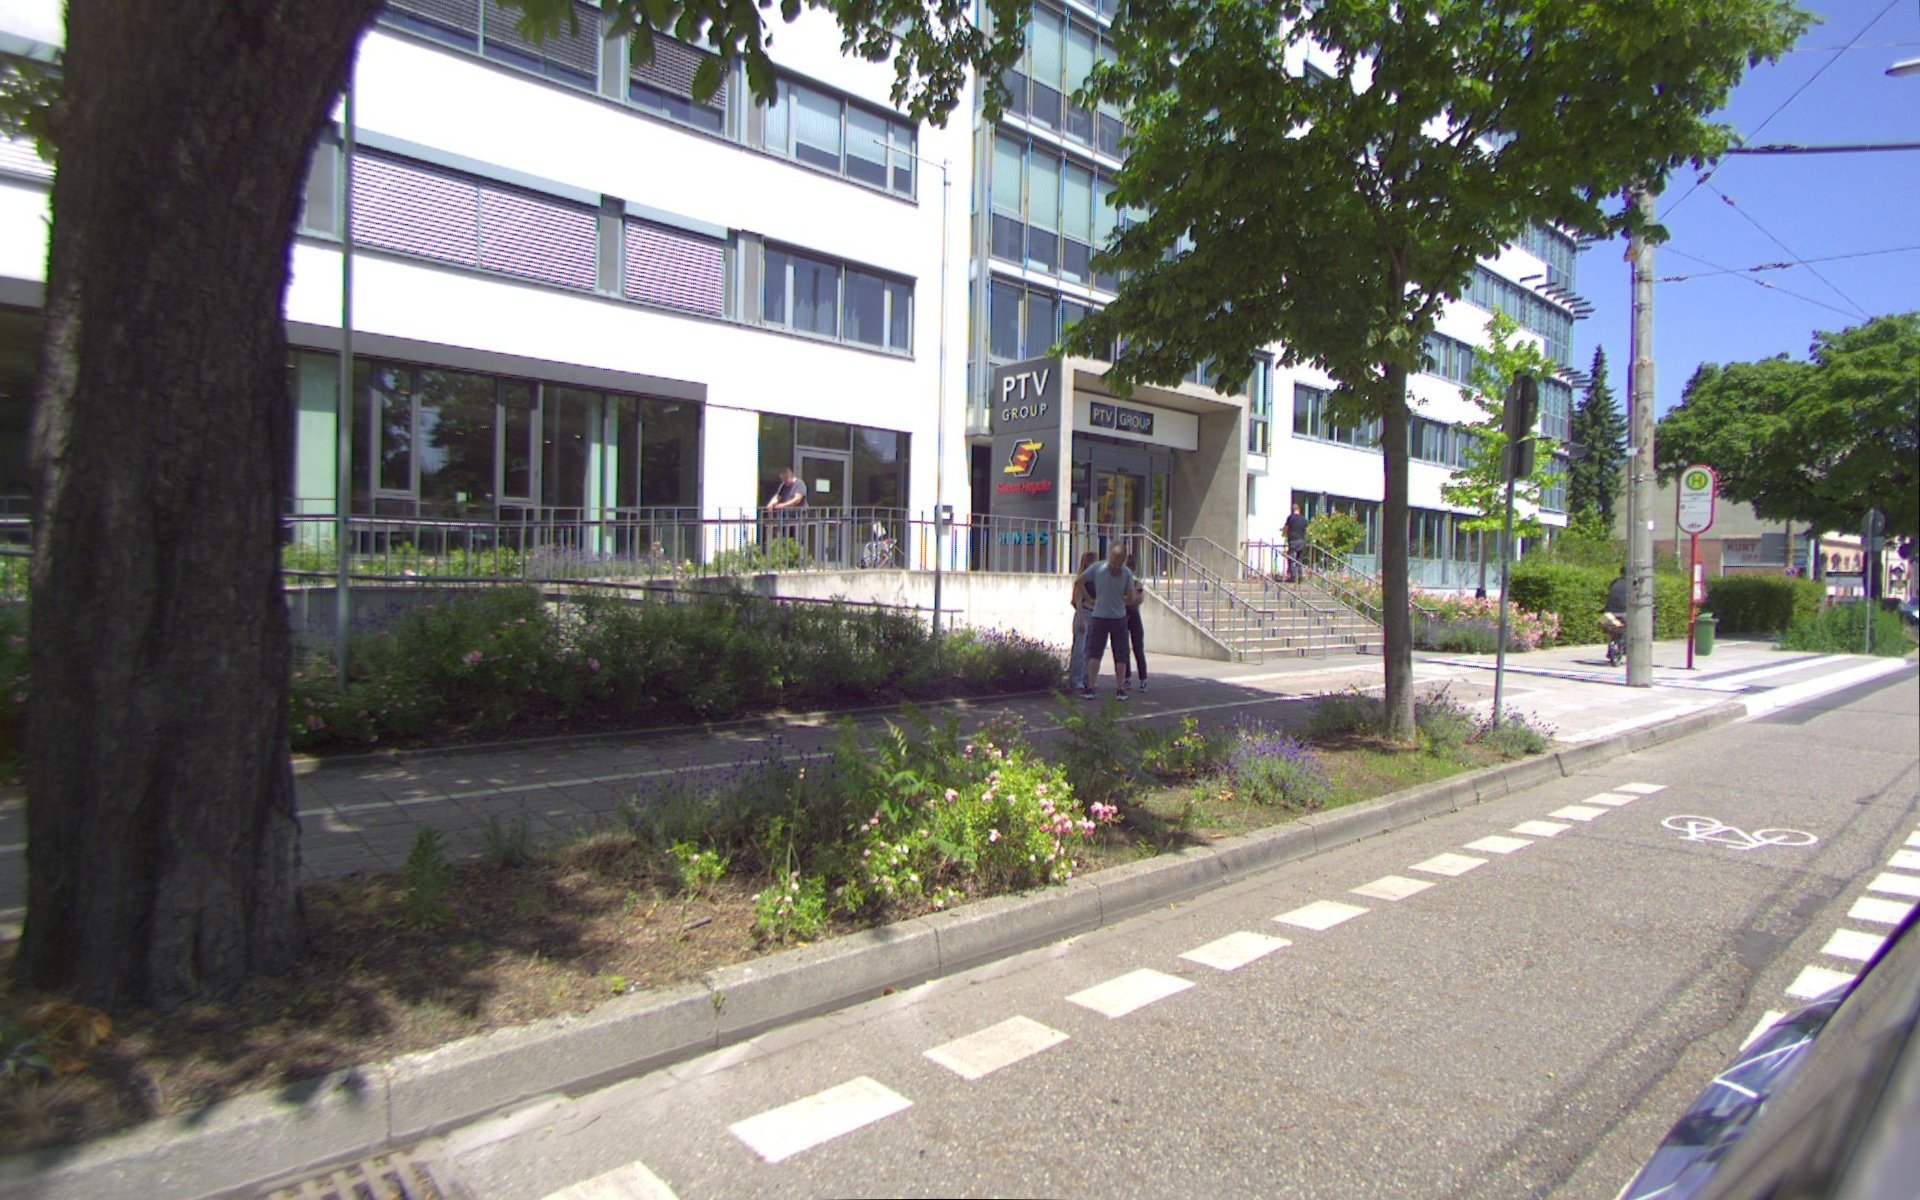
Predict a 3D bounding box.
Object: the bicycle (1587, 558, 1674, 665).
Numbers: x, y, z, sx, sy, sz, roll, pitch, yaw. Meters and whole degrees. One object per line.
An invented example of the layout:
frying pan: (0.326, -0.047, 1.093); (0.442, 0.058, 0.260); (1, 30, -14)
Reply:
bicycle: (12.026, 0.177, 18.146); (1.777, 1.807, 0.692); (-1, 3, -38)

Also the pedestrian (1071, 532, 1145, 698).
pedestrian: (1.713, 0.151, 11.672); (0.671, 1.818, 0.671); (3, 2, 18)

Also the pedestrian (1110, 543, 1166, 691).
pedestrian: (2.173, 0.186, 12.327); (0.532, 1.735, 0.562); (3, 3, 20)

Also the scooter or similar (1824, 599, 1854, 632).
scooter or similar: (32.882, 0.570, 37.849); (1.127, 1.238, 0.327); (0, 0, -19)

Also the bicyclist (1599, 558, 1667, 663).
bicyclist: (12.083, 0.168, 18.178); (0.871, 1.821, 0.699); (0, 3, -37)

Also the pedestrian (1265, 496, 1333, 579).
pedestrian: (7.354, -1.354, 21.976); (1.068, 1.735, 0.878); (1, 2, -5)

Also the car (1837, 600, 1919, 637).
car: (40.210, 0.784, 43.168); (1.667, 1.388, 3.936); (0, 2, -16)

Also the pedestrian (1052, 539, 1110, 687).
pedestrian: (1.475, 0.139, 12.295); (0.532, 1.735, 0.562); (3, 3, 20)

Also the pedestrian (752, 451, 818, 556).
pedestrian: (-3.059, -1.655, 17.666); (0.794, 1.737, 0.879); (1, 0, -41)

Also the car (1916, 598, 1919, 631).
car: (53.254, 0.830, 54.504); (4.991, 1.713, 1.929); (0, 3, -40)
